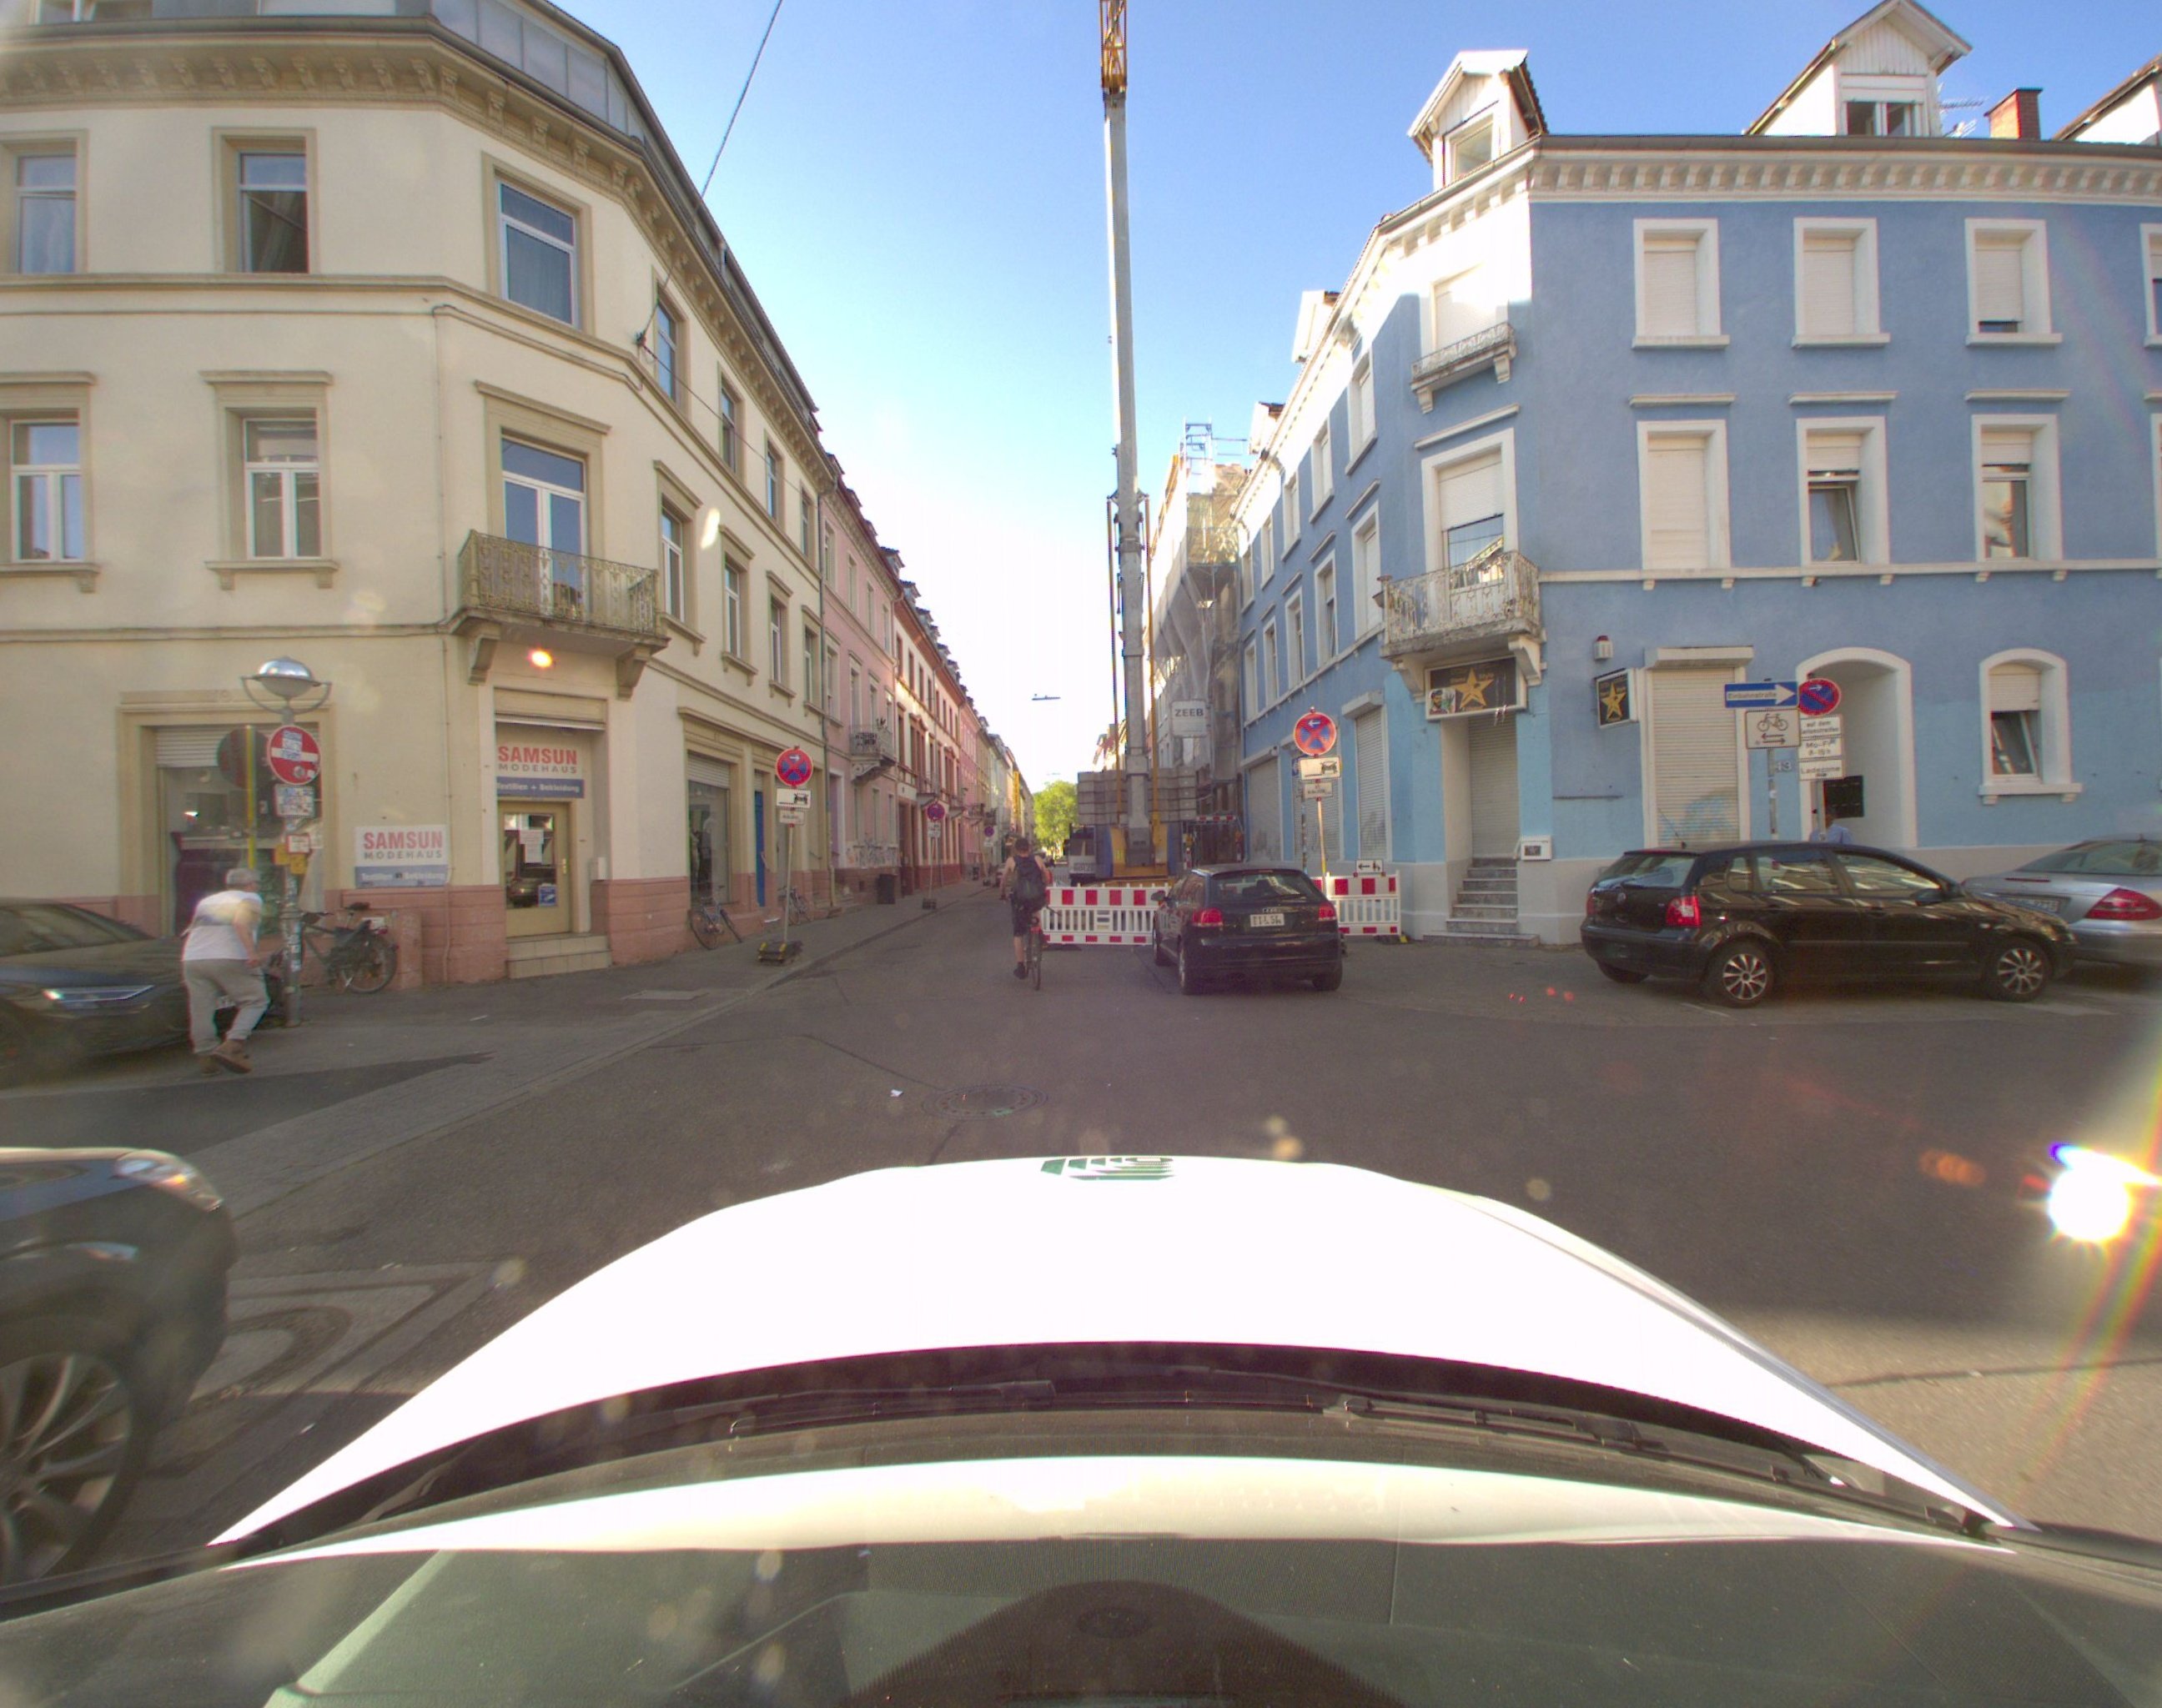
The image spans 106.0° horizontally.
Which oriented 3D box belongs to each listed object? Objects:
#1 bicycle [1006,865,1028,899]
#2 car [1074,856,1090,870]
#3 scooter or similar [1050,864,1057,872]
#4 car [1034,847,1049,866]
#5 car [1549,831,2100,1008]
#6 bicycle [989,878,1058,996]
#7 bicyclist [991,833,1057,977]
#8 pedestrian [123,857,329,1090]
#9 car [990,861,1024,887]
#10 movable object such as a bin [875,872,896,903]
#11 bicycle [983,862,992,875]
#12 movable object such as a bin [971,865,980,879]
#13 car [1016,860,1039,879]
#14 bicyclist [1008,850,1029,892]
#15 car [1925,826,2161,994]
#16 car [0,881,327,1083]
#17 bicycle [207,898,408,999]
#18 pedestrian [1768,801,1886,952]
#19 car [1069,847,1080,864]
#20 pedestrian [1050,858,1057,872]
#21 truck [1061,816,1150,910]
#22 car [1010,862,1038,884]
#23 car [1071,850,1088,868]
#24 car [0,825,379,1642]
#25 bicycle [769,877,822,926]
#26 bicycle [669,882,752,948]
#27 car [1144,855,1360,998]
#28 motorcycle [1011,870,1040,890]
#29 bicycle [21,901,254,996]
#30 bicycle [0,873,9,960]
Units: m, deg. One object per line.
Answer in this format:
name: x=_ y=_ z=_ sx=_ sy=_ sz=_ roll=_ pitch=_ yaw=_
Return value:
bicycle: x=-2.530 y=1.074 z=32.381 sx=0.700 sy=1.208 sz=2.340 roll=-2 pitch=1 yaw=-2
car: x=0.051 y=1.039 z=93.212 sx=1.616 sy=1.550 sz=3.997 roll=-4 pitch=-1 yaw=-2
scooter or similar: x=-3.138 y=1.568 z=93.447 sx=0.769 sy=0.873 sz=0.769 roll=0 pitch=-1 yaw=-6
car: x=-5.546 y=0.382 z=114.156 sx=1.905 sy=2.497 sz=4.160 roll=-2 pitch=0 yaw=-4
car: x=6.913 y=0.560 z=7.857 sx=3.857 sy=1.453 sz=1.676 roll=-1 pitch=0 yaw=-2
bicycle: x=-0.656 y=0.932 z=9.994 sx=0.700 sy=1.208 sz=2.340 roll=-1 pitch=-1 yaw=-1
bicyclist: x=-0.669 y=0.590 z=9.891 sx=0.700 sy=1.633 sz=1.089 roll=-1 pitch=-1 yaw=-2
pedestrian: x=-6.852 y=0.911 z=6.579 sx=0.692 sy=1.701 sz=0.865 roll=3 pitch=1 yaw=-2
car: x=-4.427 y=1.178 z=49.420 sx=1.706 sy=1.383 sz=4.502 roll=-4 pitch=-1 yaw=-2
movable object such as a bin: x=-6.607 y=1.134 z=27.530 sx=0.604 sy=1.035 sz=0.595 roll=0 pitch=-1 yaw=-3
bicycle: x=-7.838 y=1.183 z=68.272 sx=0.591 sy=1.089 sz=2.078 roll=0 pitch=-1 yaw=-1
movable object such as a bin: x=-7.108 y=1.212 z=55.059 sx=0.542 sy=0.945 sz=0.487 roll=0 pitch=-1 yaw=-1
car: x=-4.342 y=1.268 z=66.909 sx=1.667 sy=1.441 sz=4.162 roll=-4 pitch=-1 yaw=-2
bicyclist: x=-2.479 y=0.676 z=32.378 sx=0.700 sy=1.605 sz=0.812 roll=-2 pitch=1 yaw=-2
car: x=11.375 y=0.447 z=7.972 sx=4.455 sy=1.434 sz=1.757 roll=-1 pitch=1 yaw=0
car: x=-9.395 y=1.022 z=6.938 sx=4.131 sy=1.455 sz=1.756 roll=-1 pitch=0 yaw=-4
bicycle: x=-9.350 y=1.123 z=9.877 sx=1.913 sy=1.149 sz=0.613 roll=0 pitch=-1 yaw=4
pedestrian: x=9.505 y=0.277 z=10.410 sx=0.767 sy=1.849 sz=0.779 roll=0 pitch=-1 yaw=-2
car: x=-1.652 y=0.401 z=198.471 sx=2.301 sy=3.767 sz=6.765 roll=-3 pitch=-1 yaw=-2
pedestrian: x=-3.199 y=1.230 z=93.947 sx=0.769 sy=1.578 sz=0.898 roll=0 pitch=-1 yaw=-6
truck: x=0.682 y=0.306 z=28.093 sx=2.654 sy=2.814 sz=7.389 roll=0 pitch=-1 yaw=-1
car: x=-4.178 y=1.371 z=60.188 sx=1.705 sy=1.383 sz=4.356 roll=-1 pitch=1 yaw=1
car: x=-0.306 y=0.838 z=125.610 sx=2.301 sy=2.538 sz=6.765 roll=-4 pitch=-1 yaw=-2
car: x=-2.948 y=0.788 z=0.374 sx=1.718 sy=1.605 sz=4.161 roll=-3 pitch=0 yaw=-3
bicycle: x=-6.600 y=1.083 z=18.934 sx=0.620 sy=1.022 sz=1.817 roll=0 pitch=0 yaw=-1
bicycle: x=-6.475 y=1.036 z=14.335 sx=0.601 sy=1.022 sz=1.817 roll=2 pitch=-1 yaw=-1
car: x=1.919 y=0.753 z=10.375 sx=1.767 sy=1.434 sz=4.030 roll=-1 pitch=0 yaw=-2
motorcycle: x=-4.348 y=2.035 z=63.906 sx=2.154 sy=1.359 sz=0.536 roll=-4 pitch=1 yaw=-20
bicycle: x=-11.564 y=1.138 z=10.036 sx=1.920 sy=1.070 sz=0.611 roll=0 pitch=-1 yaw=-8
bicycle: x=-15.016 y=0.813 z=10.408 sx=1.913 sy=1.122 sz=0.613 roll=0 pitch=-1 yaw=4
